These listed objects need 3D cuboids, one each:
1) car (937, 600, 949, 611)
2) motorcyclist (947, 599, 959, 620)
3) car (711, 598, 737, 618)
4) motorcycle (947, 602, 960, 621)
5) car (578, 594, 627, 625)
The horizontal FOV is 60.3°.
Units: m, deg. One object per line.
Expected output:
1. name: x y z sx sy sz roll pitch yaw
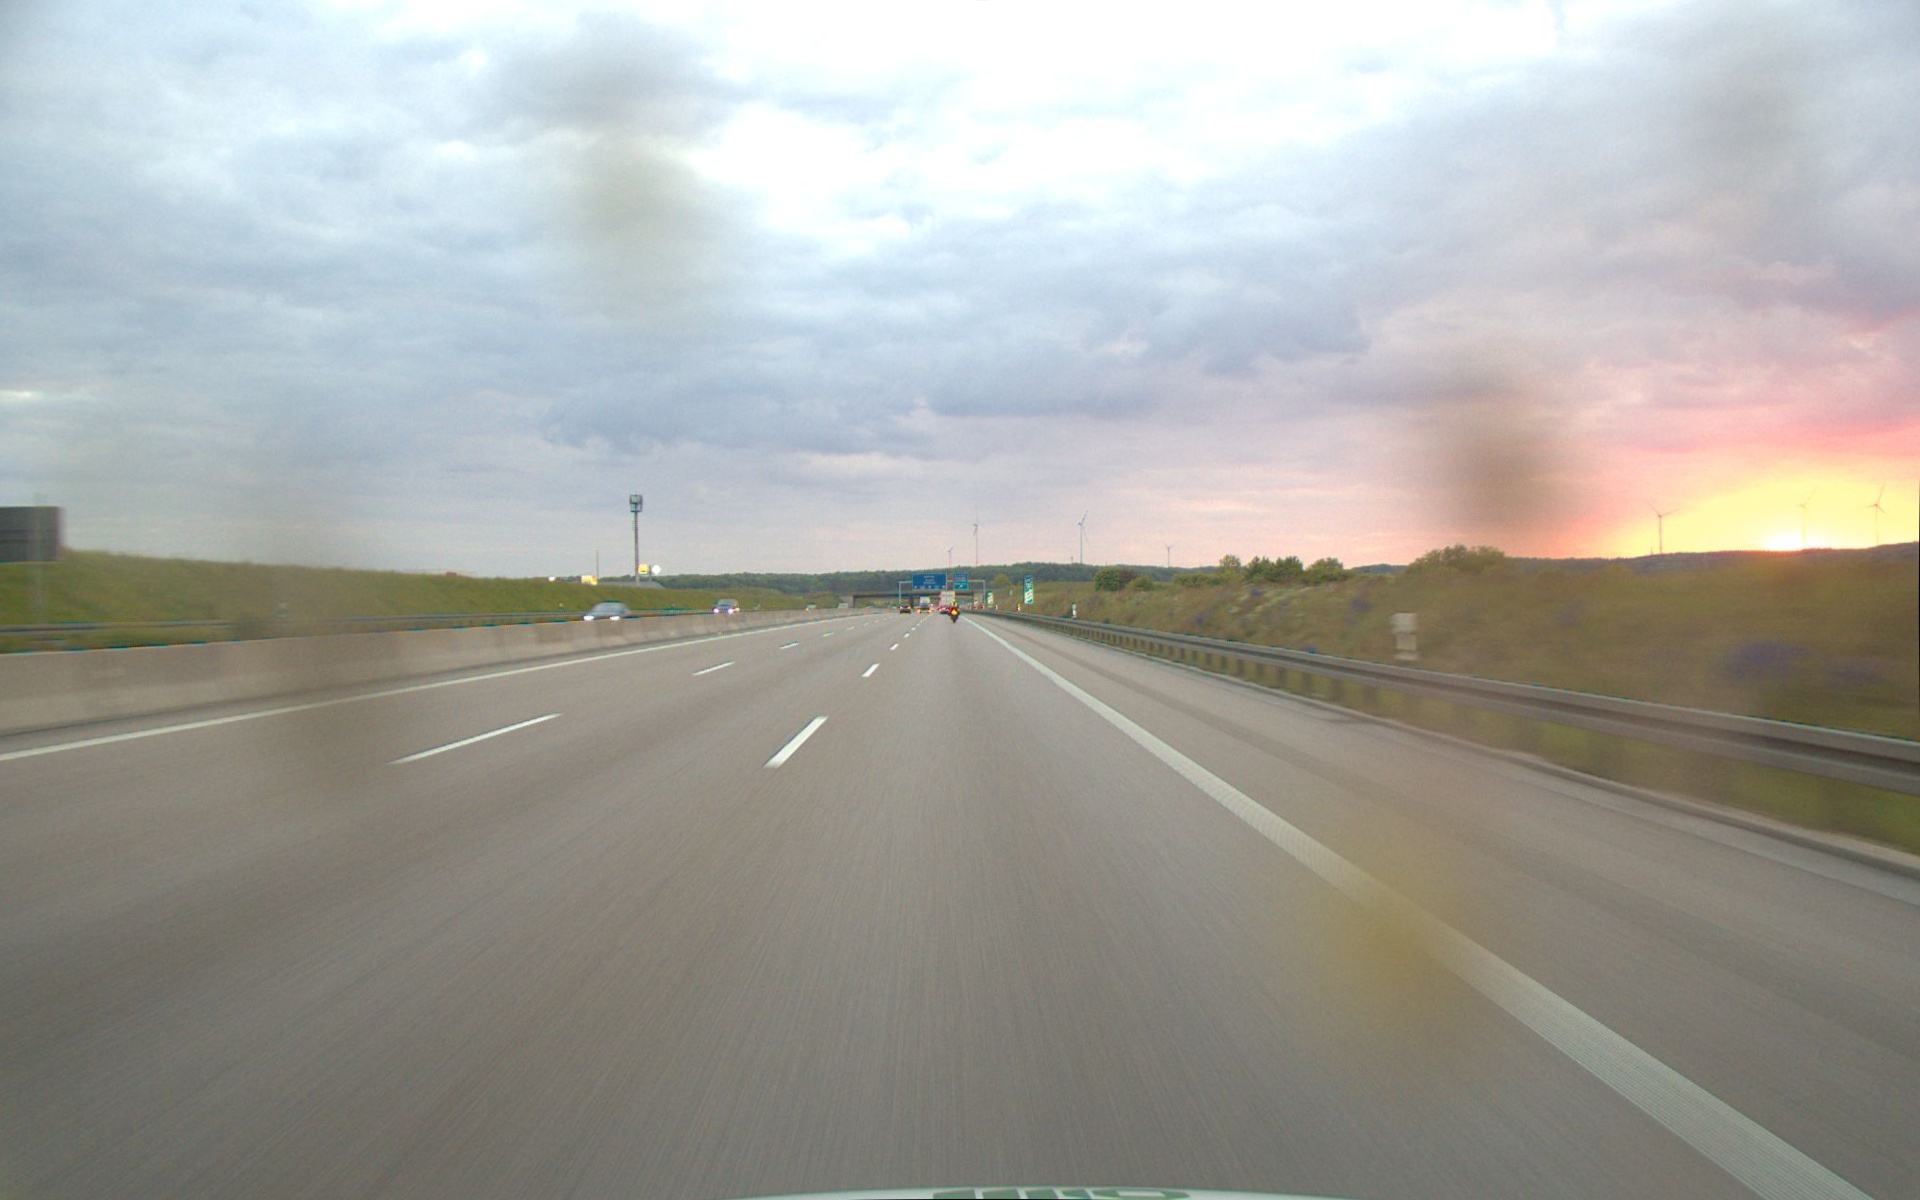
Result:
1. car: -2.589 0.891 252.596 1.879 1.607 3.999 0 0 -2
2. motorcyclist: -0.483 0.660 121.486 0.848 1.514 1.168 1 0 1
3. car: -23.769 0.792 166.630 1.953 1.970 5.089 1 0 -1
4. motorcycle: -0.477 0.857 121.560 0.883 1.370 2.348 0 0 0
5. car: -20.009 0.515 92.658 1.787 1.691 4.650 1 0 -1
